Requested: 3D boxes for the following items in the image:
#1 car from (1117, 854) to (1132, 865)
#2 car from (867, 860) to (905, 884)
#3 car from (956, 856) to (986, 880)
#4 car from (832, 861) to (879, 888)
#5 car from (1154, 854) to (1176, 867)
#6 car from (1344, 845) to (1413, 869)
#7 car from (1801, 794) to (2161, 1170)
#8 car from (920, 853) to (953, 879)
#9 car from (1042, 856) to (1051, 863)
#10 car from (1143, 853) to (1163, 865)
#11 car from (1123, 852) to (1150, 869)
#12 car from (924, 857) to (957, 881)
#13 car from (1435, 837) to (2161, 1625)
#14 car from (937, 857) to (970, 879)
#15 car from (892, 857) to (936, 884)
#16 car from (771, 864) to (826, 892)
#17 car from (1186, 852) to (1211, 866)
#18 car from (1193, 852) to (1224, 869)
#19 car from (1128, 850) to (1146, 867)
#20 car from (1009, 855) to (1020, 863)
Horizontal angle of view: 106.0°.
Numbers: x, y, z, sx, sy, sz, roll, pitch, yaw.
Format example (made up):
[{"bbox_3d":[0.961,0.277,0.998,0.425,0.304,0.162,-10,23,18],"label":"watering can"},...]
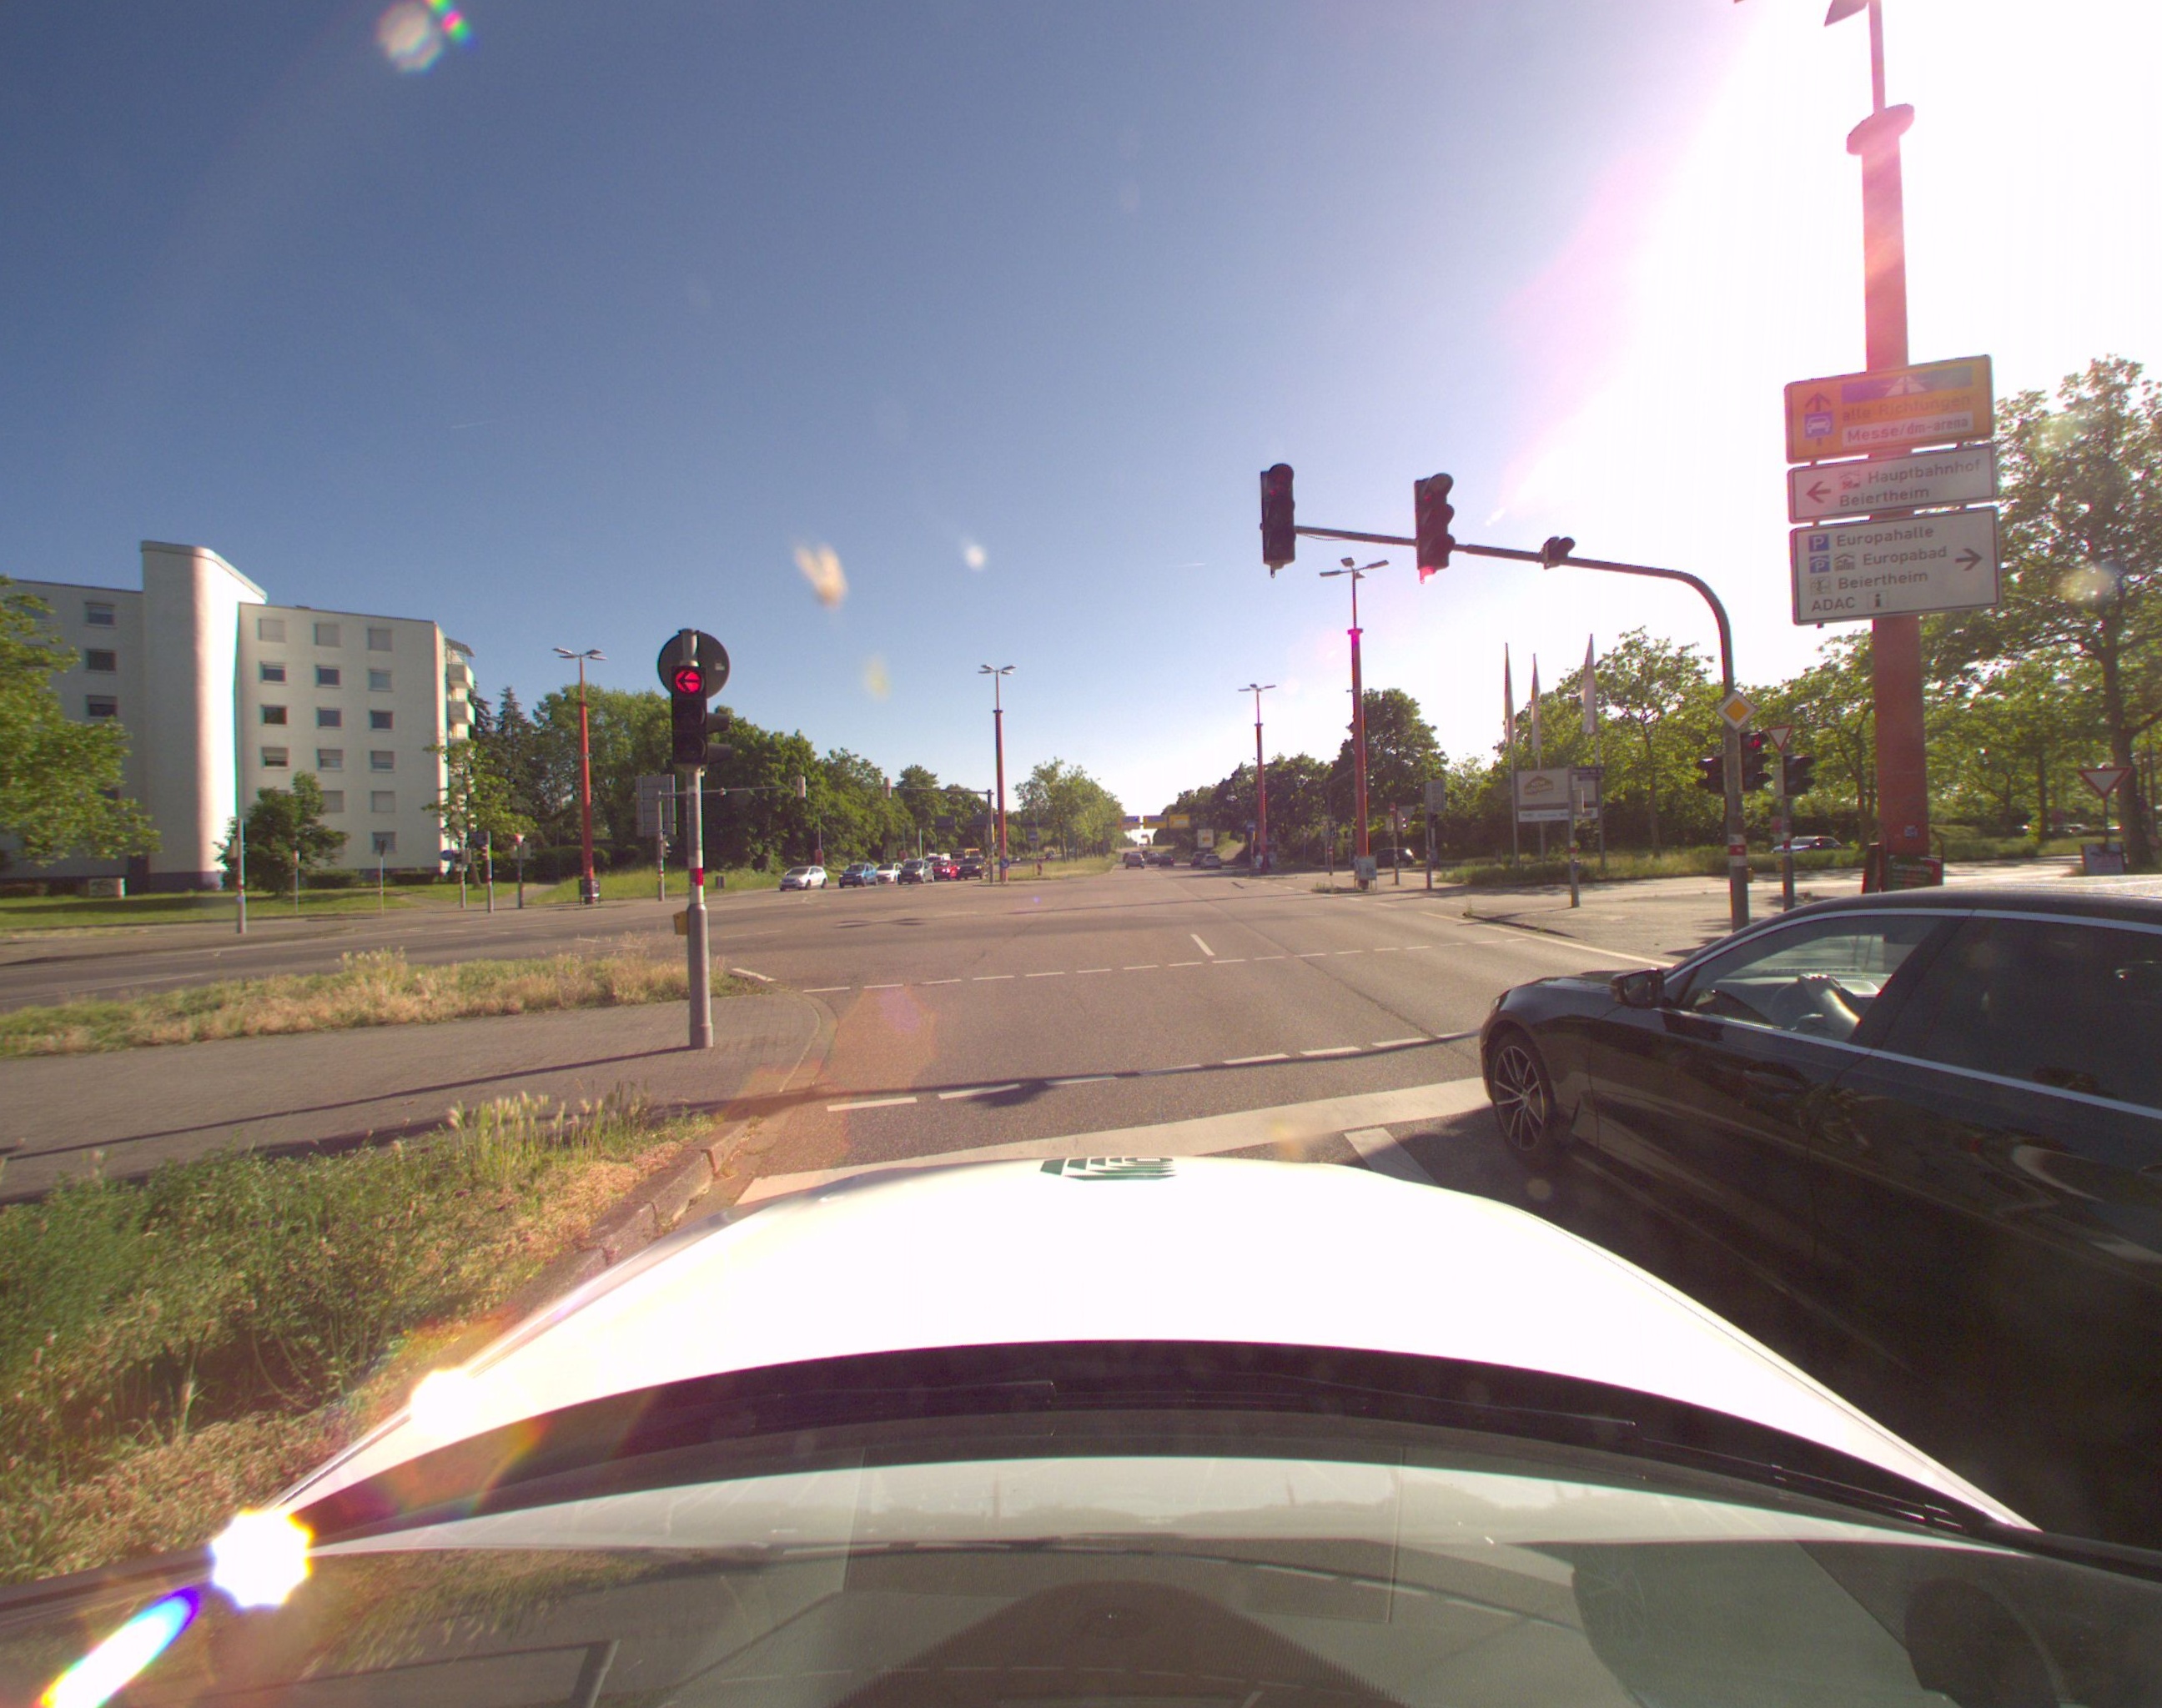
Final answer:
[{"bbox_3d":[7.075,0.887,132.759,2.153,1.573,4.277,-2,0,-2],"label":"car"},{"bbox_3d":[-13.735,1.227,57.529,1.991,1.573,4.112,-3,0,-6],"label":"car"},{"bbox_3d":[-7.563,0.938,56.495,1.874,1.573,4.112,-2,0,-6],"label":"car"},{"bbox_3d":[-14.234,1.282,51.647,1.989,1.573,4.116,-2,0,-3],"label":"car"},{"bbox_3d":[9.809,0.800,95.531,1.948,1.442,4.277,-2,0,-2],"label":"car"},{"bbox_3d":[20.848,0.202,57.024,4.226,1.573,2.179,-2,0,28],"label":"car"},{"bbox_3d":[5.801,0.561,3.267,1.959,1.686,4.479,-1,0,2],"label":"car"},{"bbox_3d":[-12.732,1.051,71.992,2.055,2.193,4.377,-2,0,0],"label":"car"},{"bbox_3d":[-8.839,1.446,206.969,1.987,1.573,4.120,-2,0,0],"label":"car"},{"bbox_3d":[9.923,0.717,112.385,2.153,1.573,4.277,-2,0,-2],"label":"car"},{"bbox_3d":[5.615,0.666,82.564,2.241,1.573,4.276,-2,0,-3],"label":"car"},{"bbox_3d":[-10.101,1.045,58.877,1.991,1.573,4.112,-2,0,-6],"label":"car"},{"bbox_3d":[2.955,0.666,2.379,1.986,1.394,4.479,-2,0,2],"label":"car"},{"bbox_3d":[-10.063,1.091,64.659,1.988,1.573,4.118,-2,0,-1],"label":"car"},{"bbox_3d":[-10.730,1.044,52.586,1.988,1.573,4.119,-2,0,-1],"label":"car"},{"bbox_3d":[-17.691,1.465,51.187,1.987,1.573,4.120,-2,0,0],"label":"car"},{"bbox_3d":[13.266,0.557,92.209,2.153,1.573,4.277,-2,0,-2],"label":"car"},{"bbox_3d":[12.535,0.587,80.354,2.153,1.573,4.277,-2,0,-2],"label":"car"},{"bbox_3d":[6.748,0.523,98.681,1.986,2.013,4.002,-2,0,2],"label":"car"},{"bbox_3d":[-14.034,1.125,171.380,1.988,1.573,4.117,-2,0,-2],"label":"car"}]
